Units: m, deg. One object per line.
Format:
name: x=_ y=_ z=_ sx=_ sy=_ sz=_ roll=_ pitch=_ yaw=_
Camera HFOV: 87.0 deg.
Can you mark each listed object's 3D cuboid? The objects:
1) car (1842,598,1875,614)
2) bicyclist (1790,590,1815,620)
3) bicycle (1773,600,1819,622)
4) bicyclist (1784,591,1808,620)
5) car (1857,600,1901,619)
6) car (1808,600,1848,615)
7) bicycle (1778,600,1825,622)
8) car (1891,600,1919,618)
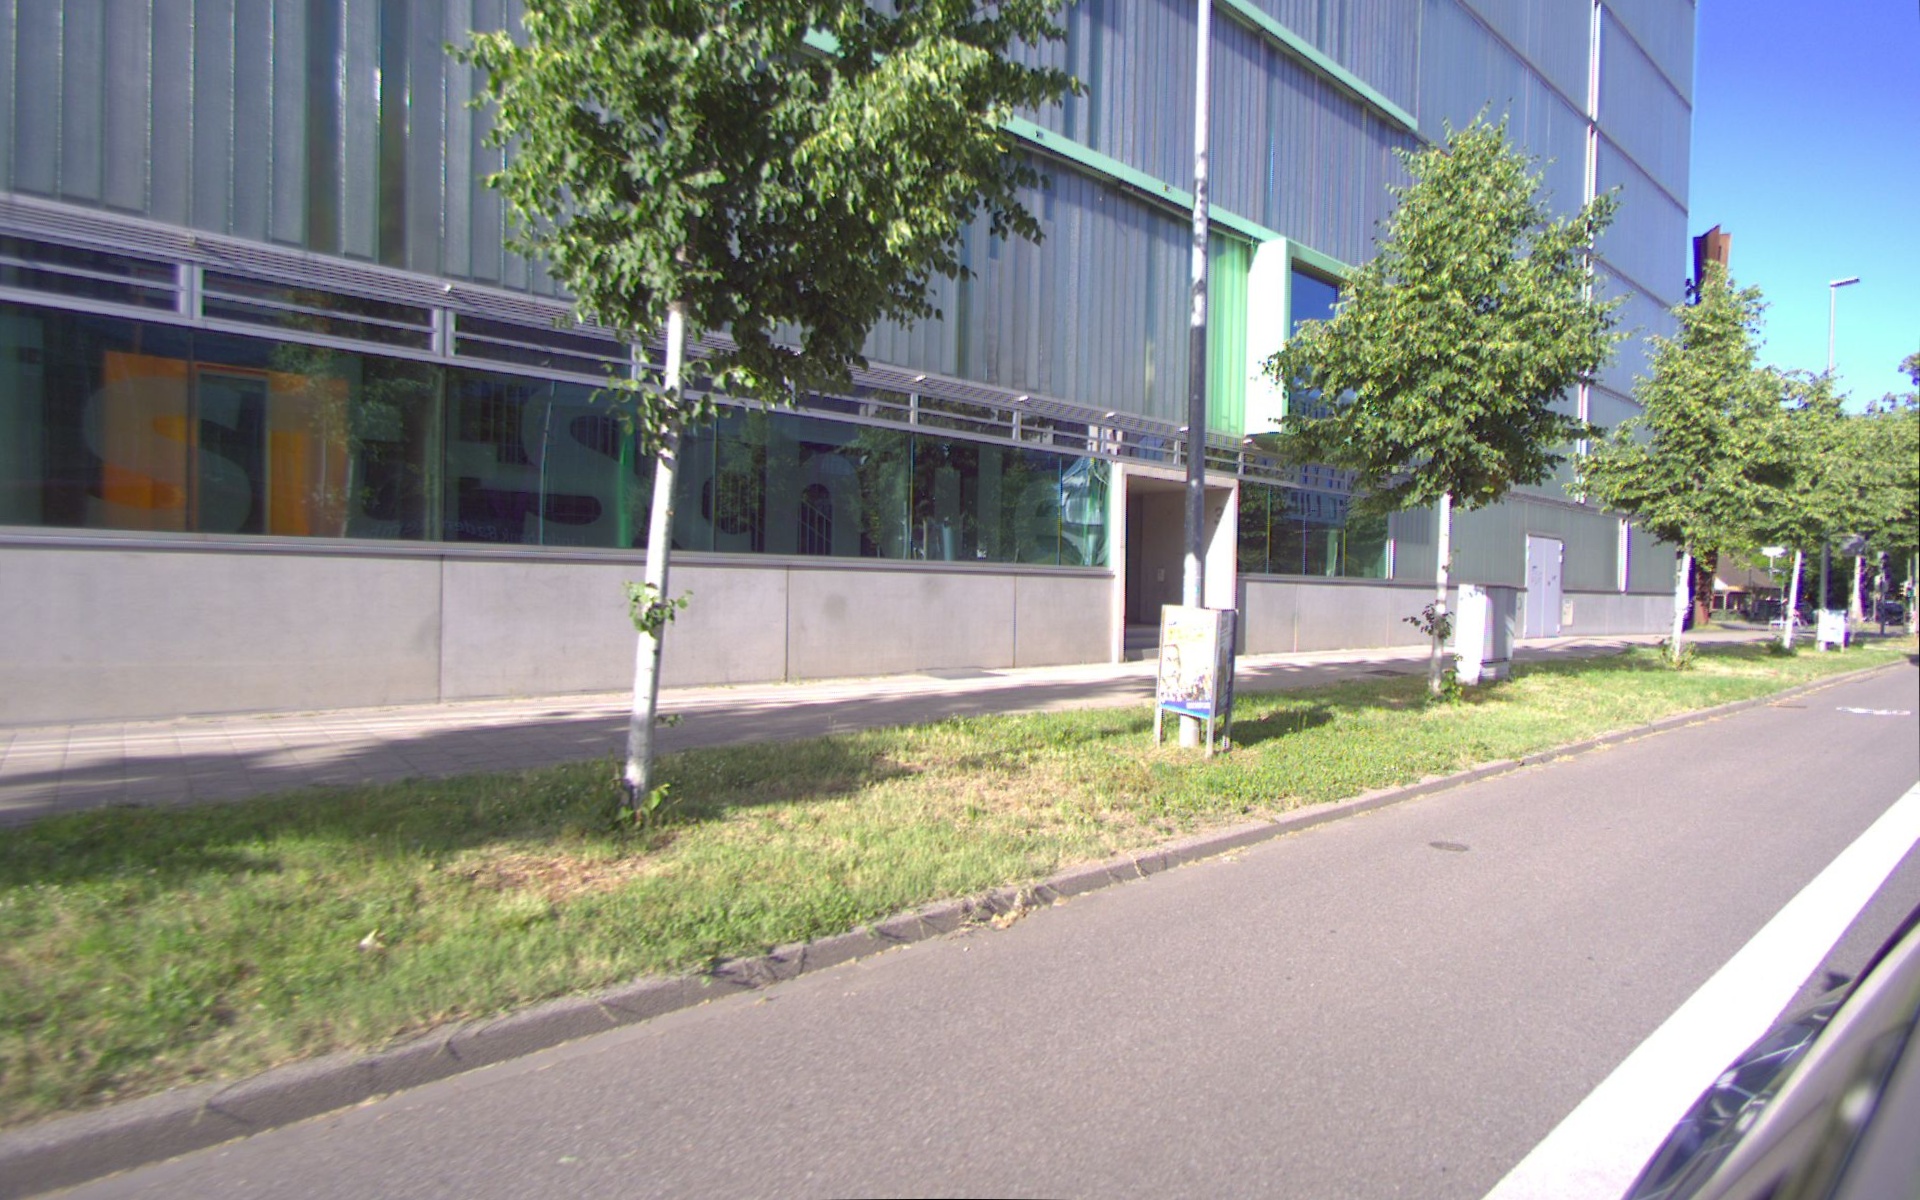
car: x=97.174 y=0.613 z=109.460 sx=4.573 sy=1.548 sz=1.998 roll=0 pitch=3 yaw=-41
bicyclist: x=51.329 y=0.285 z=61.638 sx=0.815 sy=1.759 sz=0.878 roll=2 pitch=1 yaw=-29
bicycle: x=50.533 y=0.644 z=61.212 sx=0.540 sy=1.218 sz=2.108 roll=2 pitch=1 yaw=-25
bicyclist: x=50.541 y=0.327 z=61.177 sx=0.777 sy=1.674 sz=0.878 roll=2 pitch=1 yaw=-29
car: x=72.240 y=0.742 z=79.554 sx=3.962 sy=1.484 sz=1.899 roll=0 pitch=0 yaw=-38
car: x=86.503 y=0.735 z=100.852 sx=4.820 sy=1.504 sz=1.900 roll=0 pitch=0 yaw=-35
bicycle: x=51.303 y=0.648 z=61.720 sx=0.540 sy=1.218 sz=2.107 roll=2 pitch=1 yaw=-28
car: x=82.844 y=0.809 z=88.028 sx=4.264 sy=1.507 sz=1.900 roll=0 pitch=0 yaw=-36
